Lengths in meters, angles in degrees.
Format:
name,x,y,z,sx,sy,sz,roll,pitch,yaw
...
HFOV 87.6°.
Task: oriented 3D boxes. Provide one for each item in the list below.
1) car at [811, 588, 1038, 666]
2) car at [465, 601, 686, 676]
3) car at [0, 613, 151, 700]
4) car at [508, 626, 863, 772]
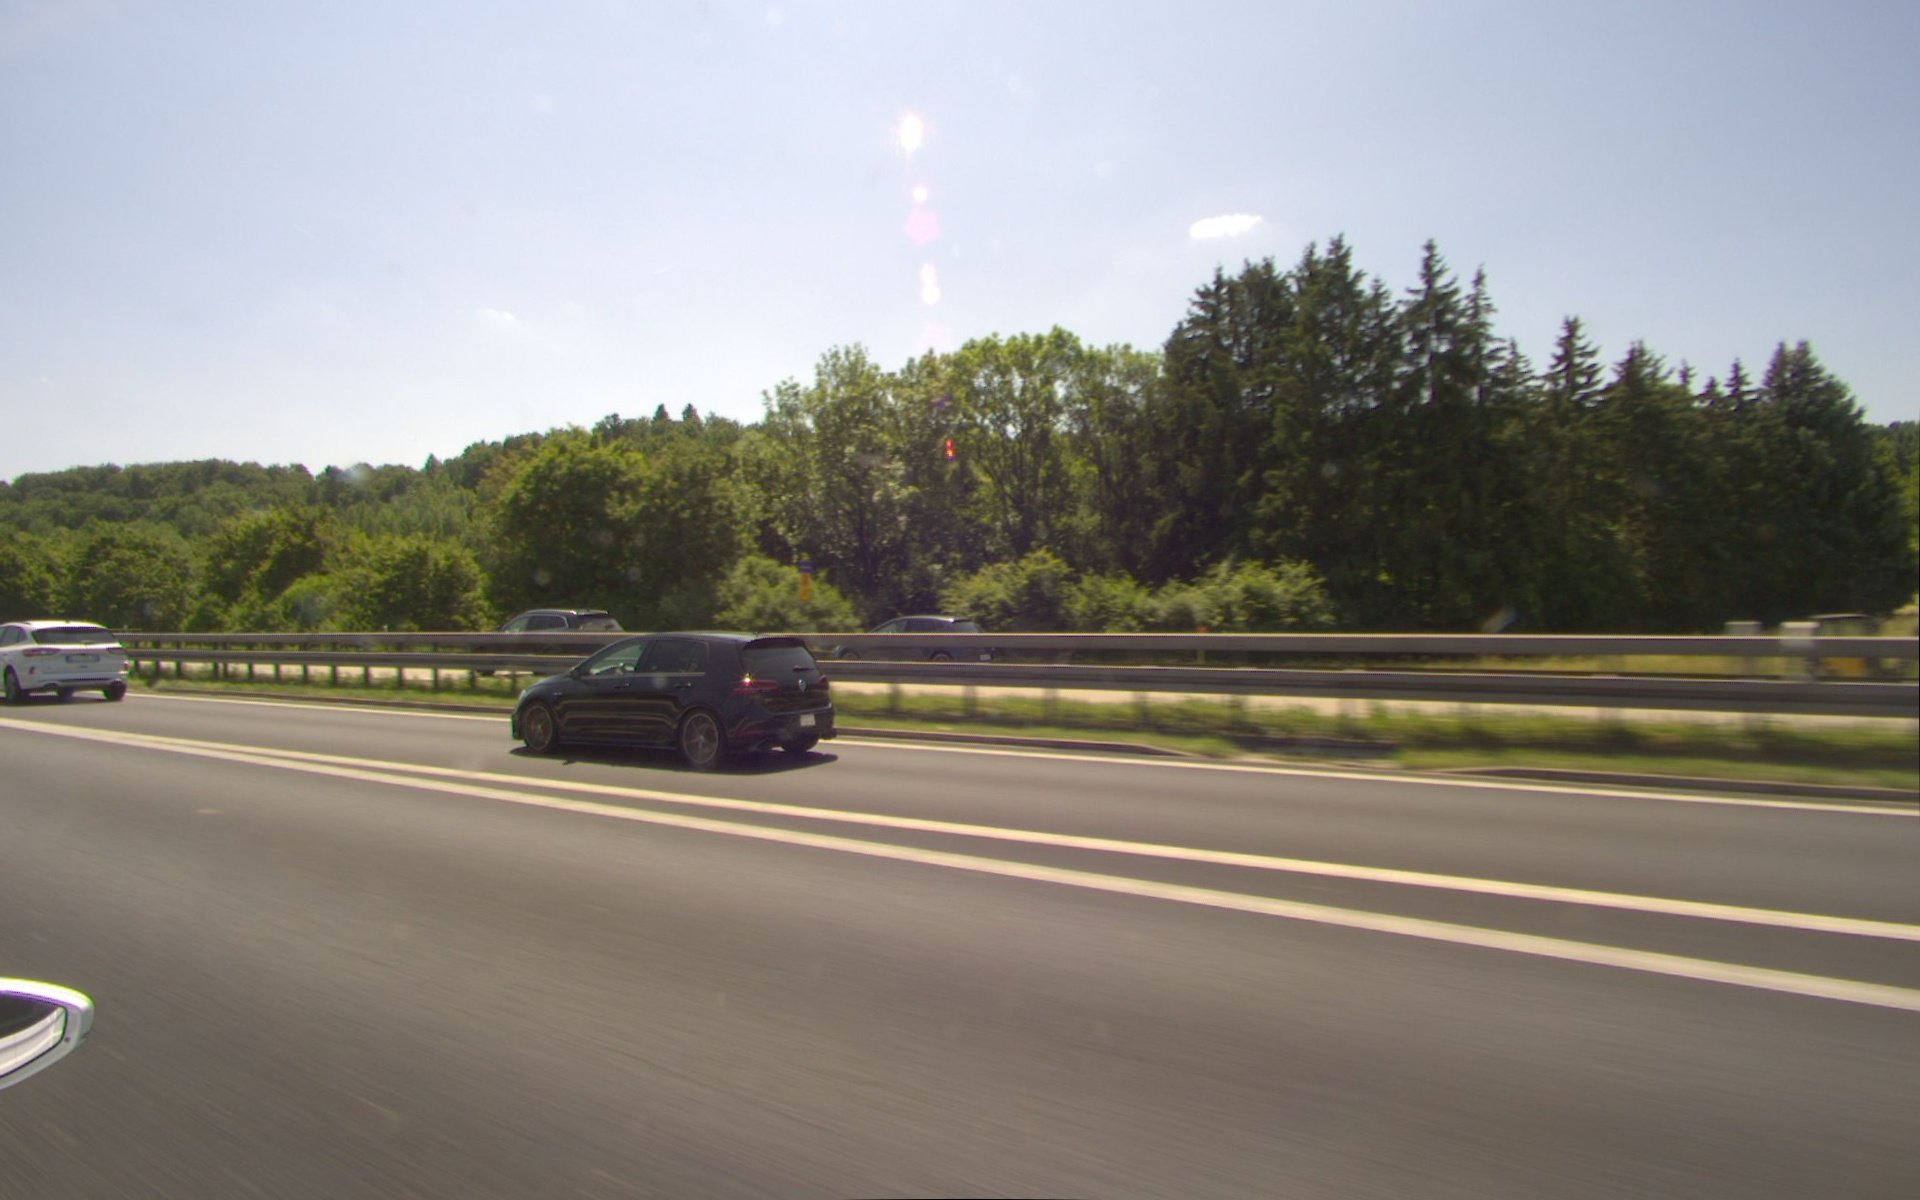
name,x,y,z,sx,sy,sz,roll,pitch,yaw
car,-0.891,0.658,23.710,5.151,1.683,1.991,-1,-2,30
car,-9.560,0.937,24.768,5.539,1.683,1.993,-1,-2,28
car,-19.501,1.171,21.477,4.403,1.683,1.991,-1,-2,31
car,-3.242,1.045,11.723,3.906,1.454,1.793,-1,-2,30
